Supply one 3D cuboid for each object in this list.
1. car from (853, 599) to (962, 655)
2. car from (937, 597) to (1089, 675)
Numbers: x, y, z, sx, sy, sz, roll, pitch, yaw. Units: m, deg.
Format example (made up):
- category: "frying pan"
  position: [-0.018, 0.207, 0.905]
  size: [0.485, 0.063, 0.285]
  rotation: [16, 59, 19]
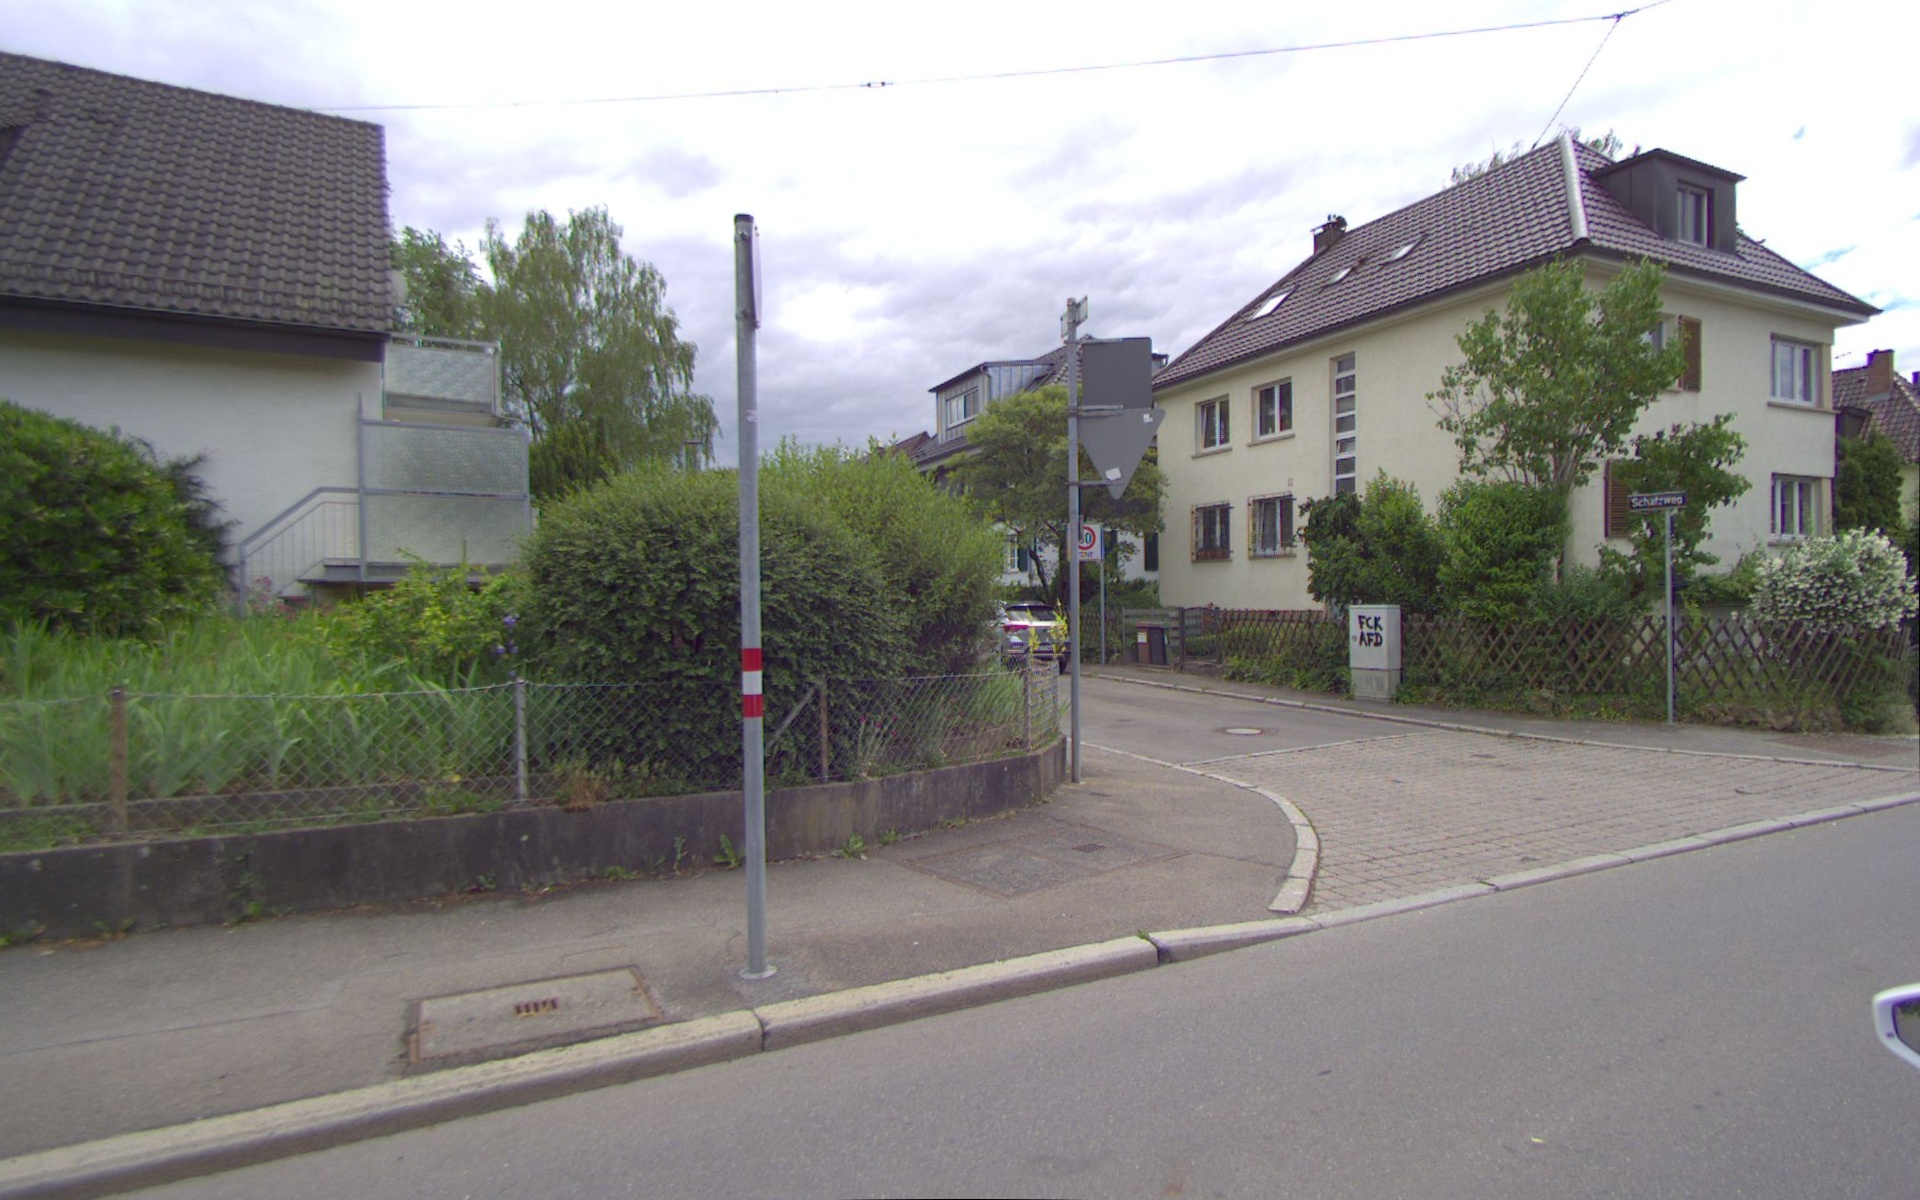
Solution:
- category: "car"
  position: [-1.550, 0.716, 28.141]
  size: [1.718, 1.427, 3.808]
  rotation: [1, 0, -25]
- category: "car"
  position: [1.095, 0.759, 22.875]
  size: [1.783, 1.566, 3.974]
  rotation: [1, 0, -25]
